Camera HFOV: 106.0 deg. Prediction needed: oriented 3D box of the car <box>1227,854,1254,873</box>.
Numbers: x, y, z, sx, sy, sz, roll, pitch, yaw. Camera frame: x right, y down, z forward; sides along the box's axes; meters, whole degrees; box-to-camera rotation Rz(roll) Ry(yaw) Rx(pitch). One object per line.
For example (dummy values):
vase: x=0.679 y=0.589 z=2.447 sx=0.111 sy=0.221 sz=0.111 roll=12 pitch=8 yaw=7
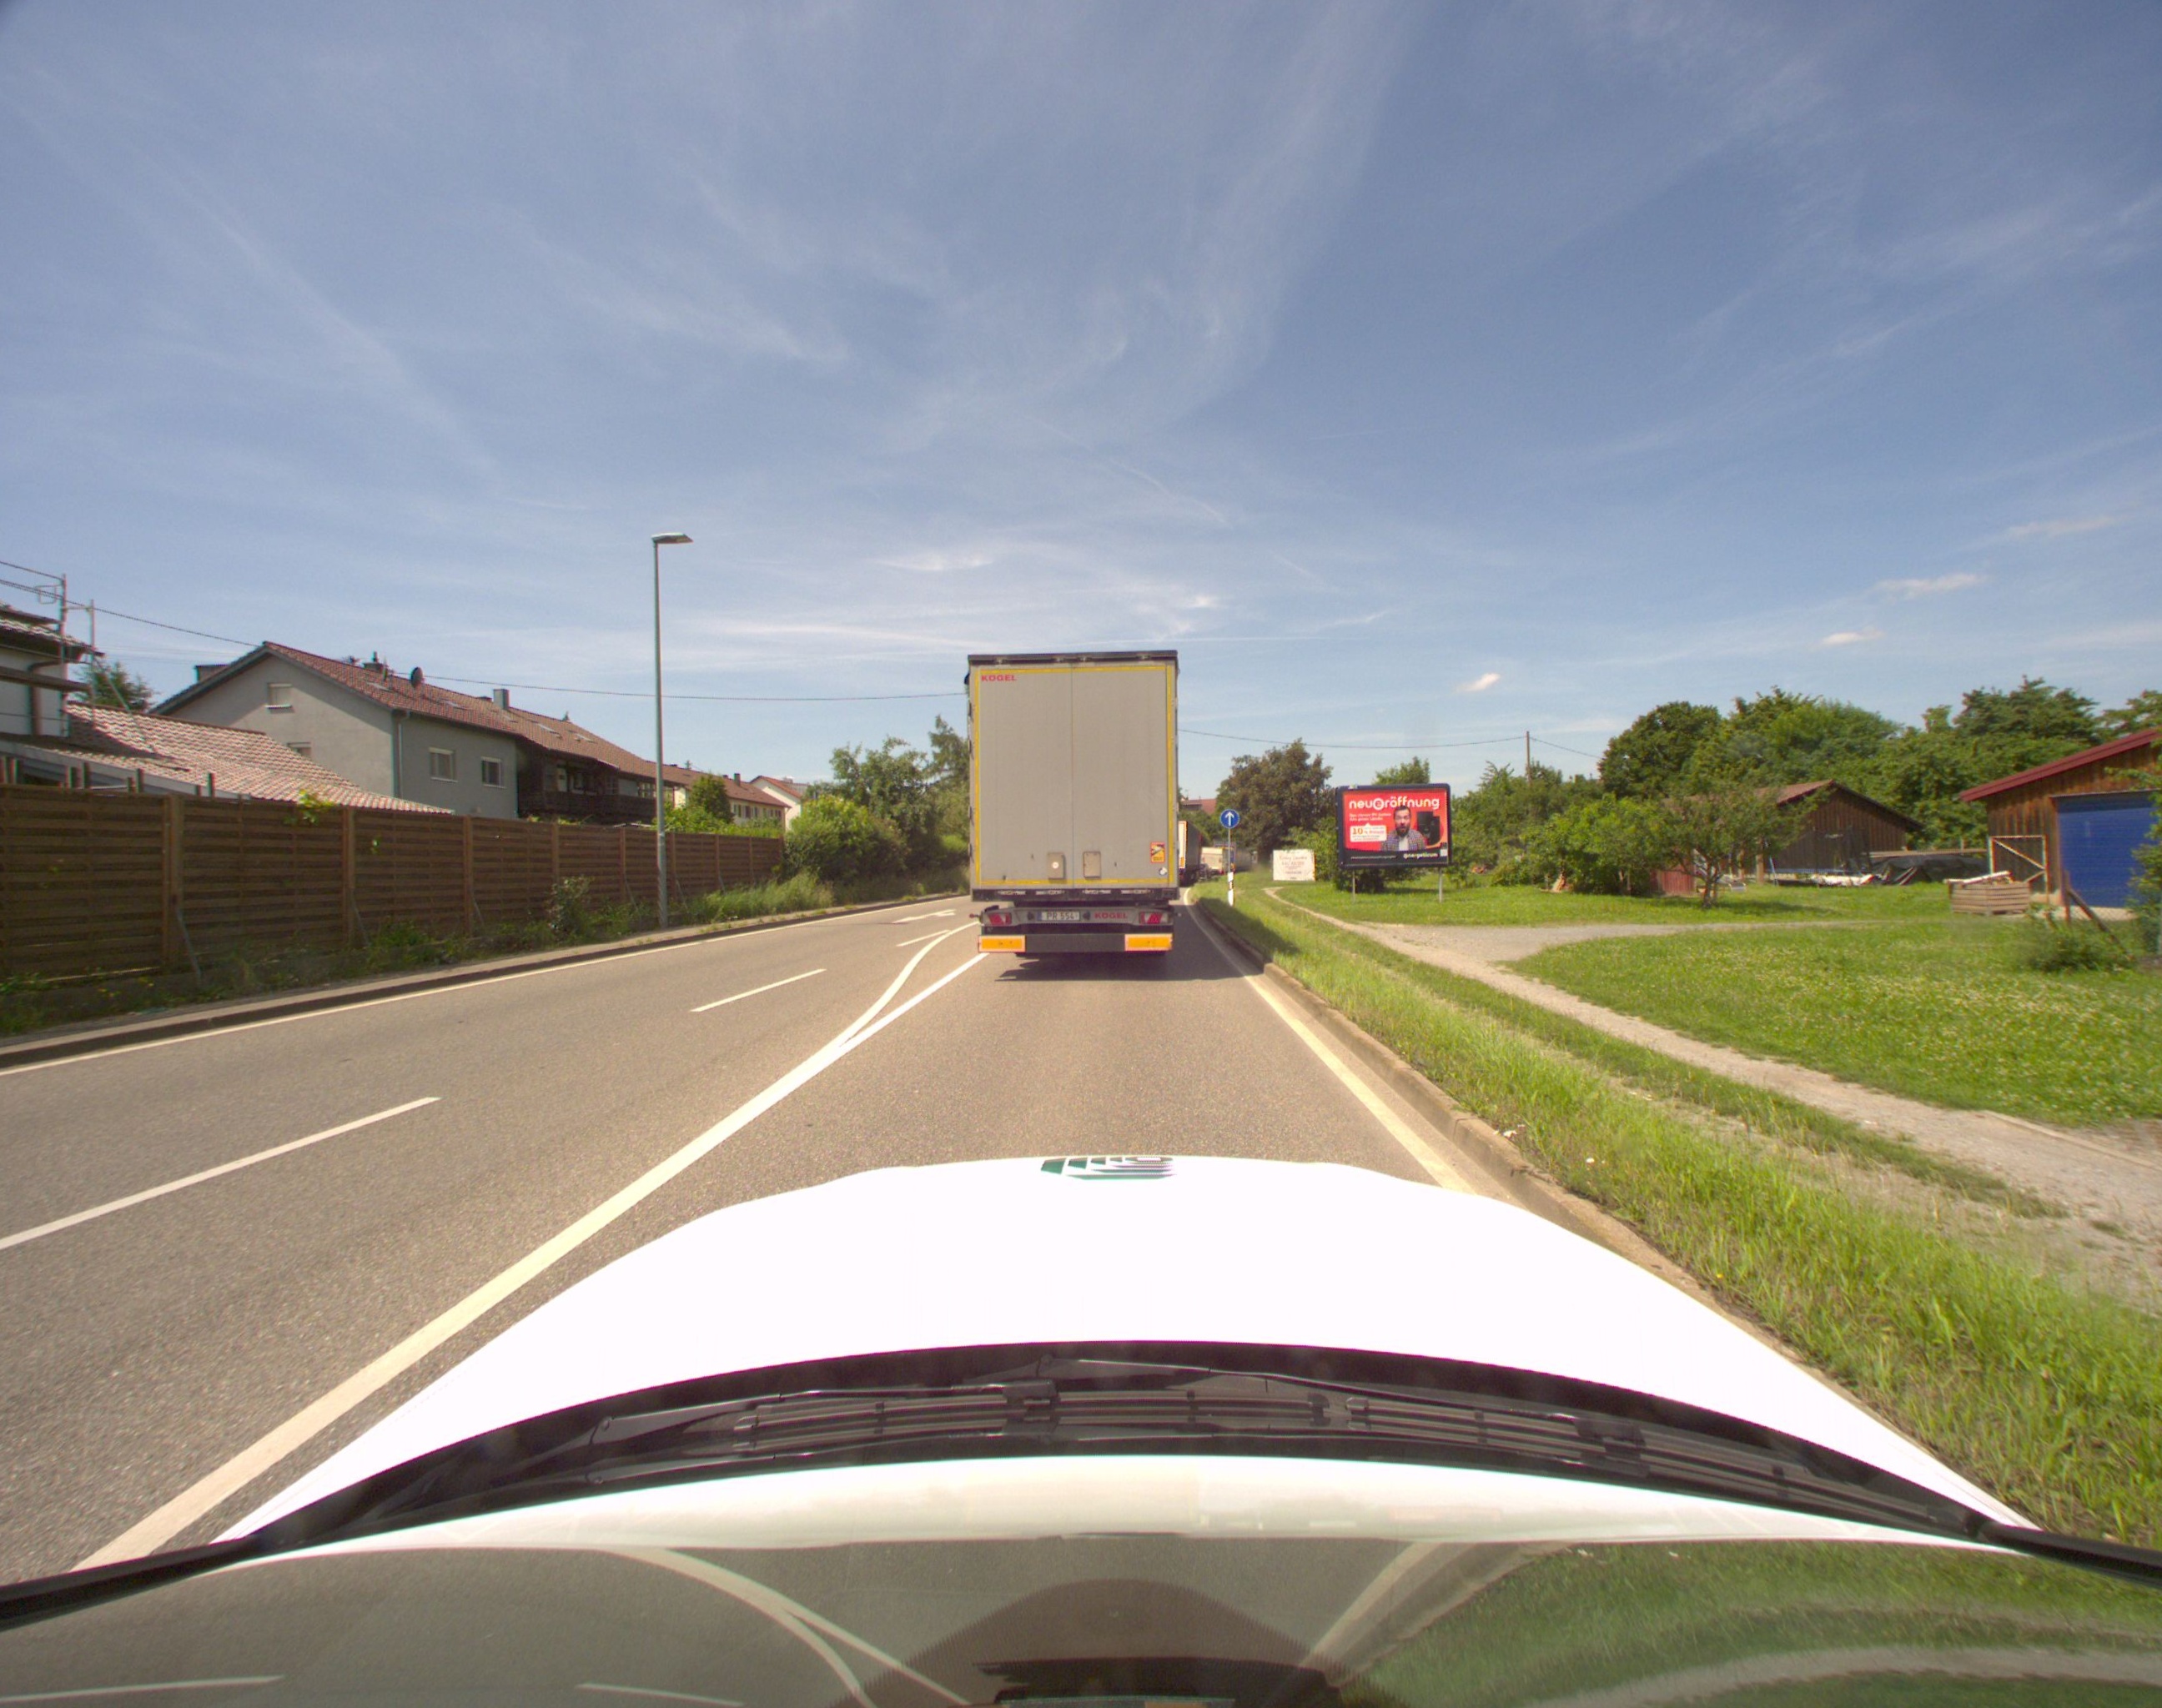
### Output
car: x=20.081 y=1.164 z=102.223 sx=2.512 sy=2.277 sz=6.410 roll=0 pitch=0 yaw=18

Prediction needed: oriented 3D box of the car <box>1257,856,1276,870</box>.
car: x=26.983 y=1.267 z=118.529 sx=1.976 sy=2.014 sz=4.021 roll=-1 pitch=-1 yaw=22

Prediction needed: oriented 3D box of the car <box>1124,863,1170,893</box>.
car: x=3.108 y=1.088 z=37.998 sx=1.808 sy=1.346 sz=3.857 roll=0 pitch=-1 yaw=9

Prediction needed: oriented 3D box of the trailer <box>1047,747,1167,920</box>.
trailer: x=0.873 y=-0.483 z=22.767 sx=2.812 sy=4.111 sz=6.552 roll=-1 pitch=0 yaw=4

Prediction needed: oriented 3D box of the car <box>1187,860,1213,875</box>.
car: x=11.002 y=1.254 z=75.210 sx=1.979 sy=1.376 sz=4.015 roll=0 pitch=-1 yaw=14

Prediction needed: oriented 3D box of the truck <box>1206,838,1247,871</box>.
truck: x=16.717 y=0.009 z=93.074 sx=3.406 sy=3.604 sz=9.396 roll=-1 pitch=0 yaw=17

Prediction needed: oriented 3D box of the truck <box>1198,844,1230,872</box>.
truck: x=13.626 y=0.430 z=83.032 sx=2.524 sy=2.803 sz=6.057 roll=-1 pitch=-1 yaw=16

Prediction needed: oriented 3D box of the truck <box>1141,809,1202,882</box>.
truck: x=6.476 y=-0.358 z=55.839 sx=2.742 sy=4.289 sz=16.464 roll=0 pitch=-1 yaw=11

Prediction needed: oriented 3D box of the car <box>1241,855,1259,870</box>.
car: x=22.924 y=1.157 z=110.439 sx=1.978 sy=2.014 sz=4.018 roll=-1 pitch=-1 yaw=18

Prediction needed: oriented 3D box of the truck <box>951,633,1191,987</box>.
truck: x=0.300 y=-0.514 z=15.297 sx=2.809 sy=4.127 sz=11.457 roll=0 pitch=0 yaw=4
